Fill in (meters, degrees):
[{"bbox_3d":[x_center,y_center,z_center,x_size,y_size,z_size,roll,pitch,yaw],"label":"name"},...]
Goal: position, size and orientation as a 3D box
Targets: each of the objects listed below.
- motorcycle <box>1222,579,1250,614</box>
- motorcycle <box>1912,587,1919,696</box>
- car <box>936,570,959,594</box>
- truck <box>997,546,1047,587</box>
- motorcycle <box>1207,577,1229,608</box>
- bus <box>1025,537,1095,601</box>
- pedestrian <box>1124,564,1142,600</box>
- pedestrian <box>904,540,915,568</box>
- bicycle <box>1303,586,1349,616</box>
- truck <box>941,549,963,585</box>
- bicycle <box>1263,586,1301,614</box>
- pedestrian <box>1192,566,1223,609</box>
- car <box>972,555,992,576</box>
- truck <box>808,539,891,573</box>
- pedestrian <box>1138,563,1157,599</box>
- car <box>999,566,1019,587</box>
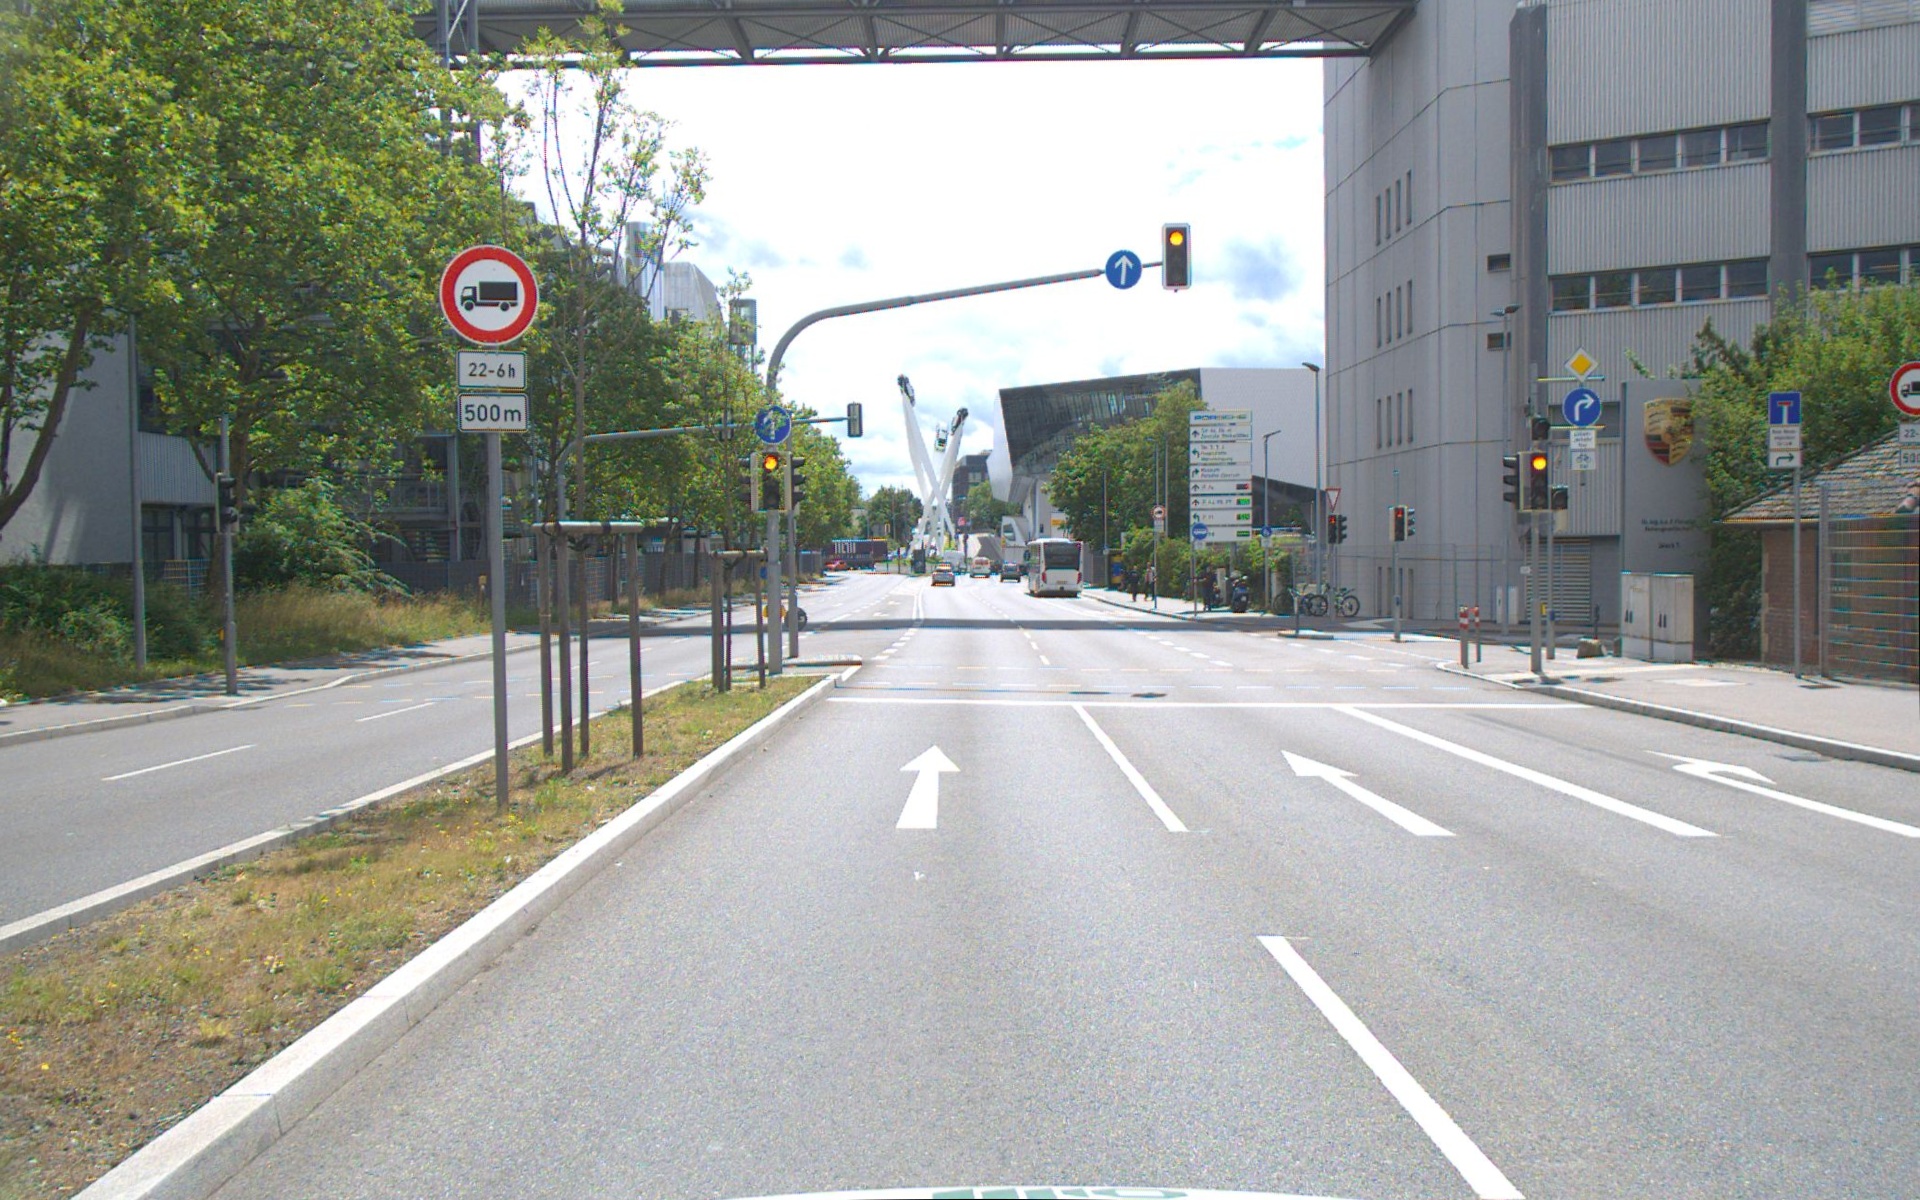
[{"bbox_3d":[10.170,-0.150,61.007,0.692,1.224,2.024,-2,1,0],"label":"motorcycle"},{"bbox_3d":[10.821,0.450,17.000,0.679,1.178,2.146,-2,1,-5],"label":"motorcycle"},{"bbox_3d":[-0.972,-1.387,127.545,1.703,1.772,3.691,0,1,0],"label":"car"},{"bbox_3d":[7.090,-3.767,187.574,3.380,4.468,9.425,0,1,17],"label":"truck"},{"bbox_3d":[10.728,-0.331,68.798,0.562,1.224,2.024,-2,1,0],"label":"motorcycle"},{"bbox_3d":[5.900,-1.846,99.887,3.382,3.605,10.604,0,1,-1],"label":"bus"},{"bbox_3d":[8.419,-0.879,80.477,0.803,1.737,0.881,0,0,0],"label":"pedestrian"},{"bbox_3d":[-6.561,-6.004,216.279,1.387,3.663,1.283,0,0,-1],"label":"pedestrian"},{"bbox_3d":[12.114,0.021,54.832,0.392,0.953,1.913,0,1,-25],"label":"bicycle"},{"bbox_3d":[-0.890,-3.660,185.682,2.343,3.965,6.177,0,1,0],"label":"truck"},{"bbox_3d":[11.113,-0.019,57.119,0.391,0.953,1.918,0,1,-18],"label":"bicycle"},{"bbox_3d":[9.635,-0.491,64.386,0.835,1.653,0.951,1,1,41],"label":"pedestrian"},{"bbox_3d":[2.256,-3.545,170.141,1.953,2.049,3.999,1,-1,-2],"label":"car"},{"bbox_3d":[-16.105,-6.400,241.778,12.036,4.399,3.528,1,-1,-37],"label":"truck"},{"bbox_3d":[9.101,-0.916,80.272,0.802,1.772,0.637,0,0,13],"label":"pedestrian"},{"bbox_3d":[4.360,-2.076,146.860,1.703,1.772,3.691,0,1,0],"label":"car"}]
